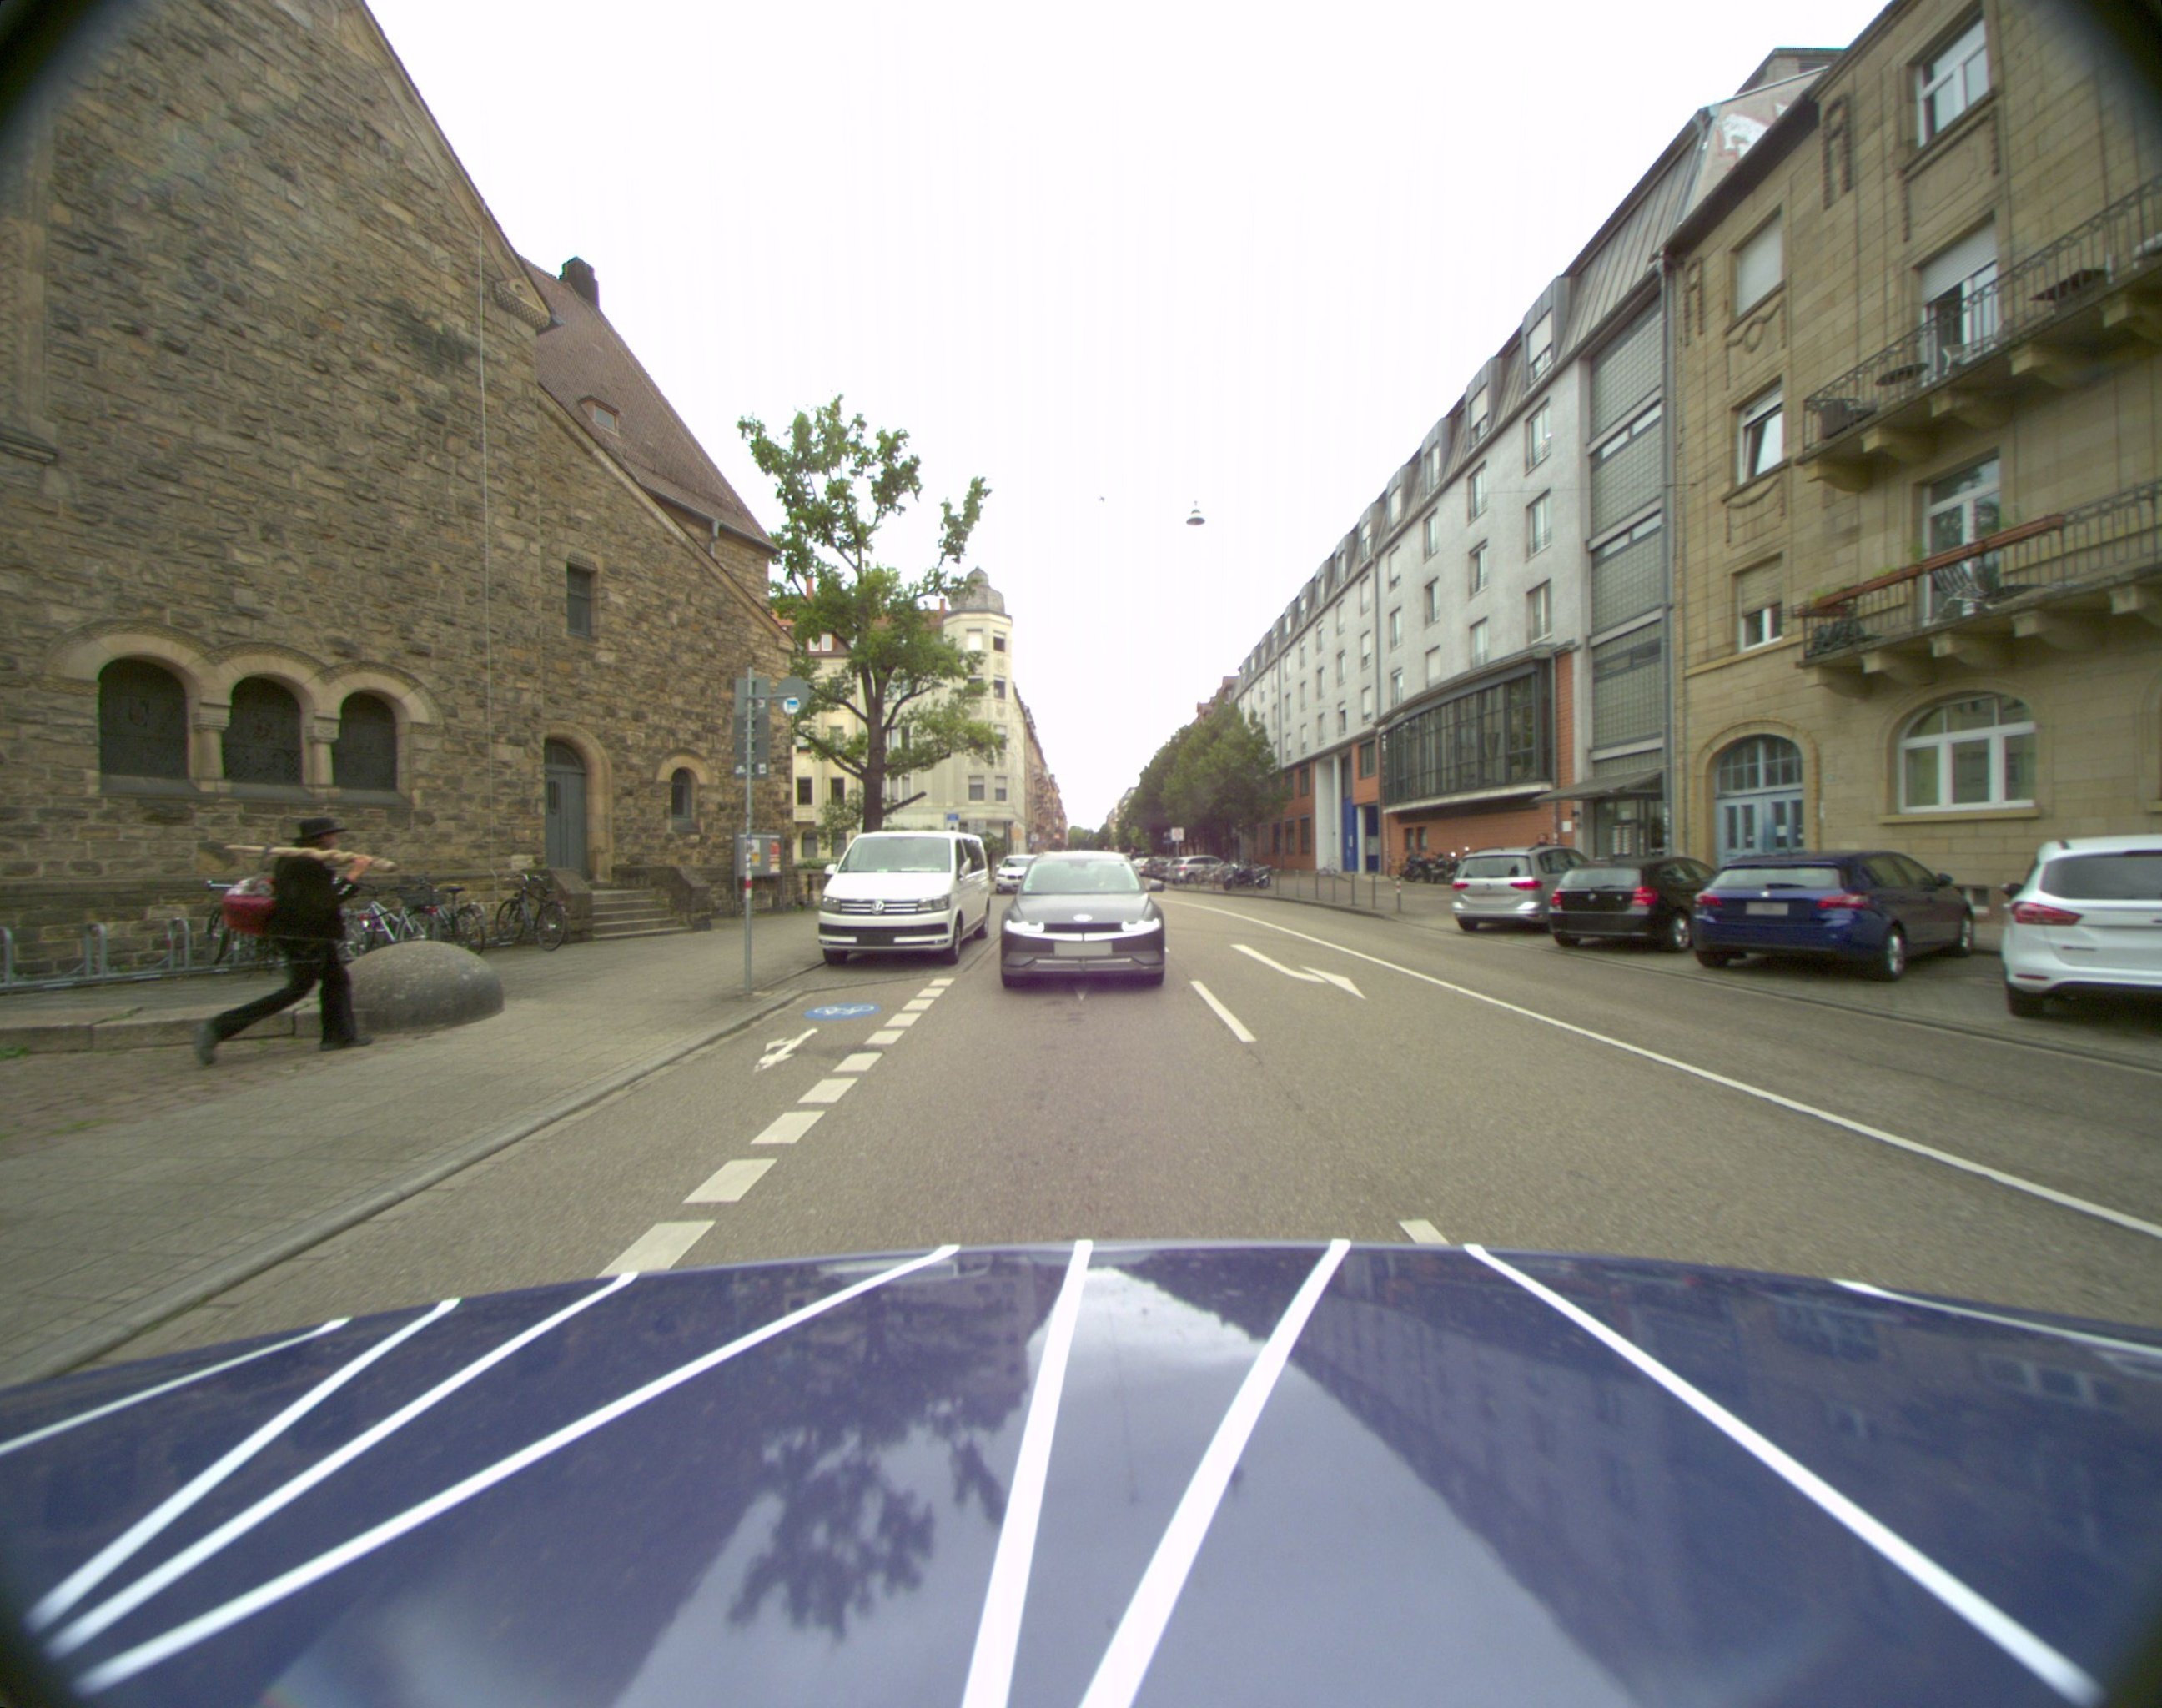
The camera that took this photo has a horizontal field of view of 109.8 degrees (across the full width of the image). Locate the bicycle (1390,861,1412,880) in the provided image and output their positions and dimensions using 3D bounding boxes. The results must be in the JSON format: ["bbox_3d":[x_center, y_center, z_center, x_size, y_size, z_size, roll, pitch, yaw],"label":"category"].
[{"bbox_3d":[14.083,0.713,33.415,0.336,0.782,1.581,-1,0,2],"label":"bicycle"}]

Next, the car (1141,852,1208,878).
[{"bbox_3d":[6.291,0.733,51.075,4.004,1.619,1.996,-1,0,-22],"label":"car"}]

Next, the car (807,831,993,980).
[{"bbox_3d":[-2.635,0.664,12.404,1.810,1.908,5.163,-1,0,0],"label":"car"}]

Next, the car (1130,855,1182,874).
[{"bbox_3d":[6.312,0.875,63.659,4.004,1.488,1.735,-1,0,-22],"label":"car"}]

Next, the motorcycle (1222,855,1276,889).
[{"bbox_3d":[7.180,0.768,32.472,2.124,1.345,0.599,-2,1,1],"label":"motorcycle"}]

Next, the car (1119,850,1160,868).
[{"bbox_3d":[6.443,0.575,83.320,4.004,1.897,1.996,-1,0,-22],"label":"car"}]

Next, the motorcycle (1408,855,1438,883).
[{"bbox_3d":[13.867,0.593,30.831,0.446,1.091,1.763,-1,0,2],"label":"motorcycle"}]

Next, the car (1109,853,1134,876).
[{"bbox_3d":[3.199,0.793,61.057,1.698,1.793,4.128,0,0,-1],"label":"car"}]

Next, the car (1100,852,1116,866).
[{"bbox_3d":[3.615,0.680,102.105,1.998,1.897,4.000,-1,0,2],"label":"car"}]

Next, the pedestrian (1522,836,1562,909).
[{"bbox_3d":[11.742,0.465,19.371,0.621,1.812,0.642,-1,1,1],"label":"pedestrian"}]

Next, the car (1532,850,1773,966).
[{"bbox_3d":[9.342,0.773,12.356,4.006,1.430,1.729,-3,0,-31],"label":"car"}]

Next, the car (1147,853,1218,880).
[{"bbox_3d":[6.472,0.751,48.305,4.004,1.619,1.996,-1,0,-22],"label":"car"}]

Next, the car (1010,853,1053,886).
[{"bbox_3d":[-2.431,0.742,38.129,1.820,1.556,4.000,-1,0,1],"label":"car"}]

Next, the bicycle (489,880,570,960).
[{"bbox_3d":[-8.276,0.975,11.399,1.340,1.140,0.311,-1,1,23],"label":"bicycle"}]

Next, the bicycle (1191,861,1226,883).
[{"bbox_3d":[6.463,0.915,38.520,1.630,1.067,0.416,-2,1,-1],"label":"bicycle"}]

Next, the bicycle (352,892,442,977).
[{"bbox_3d":[-9.043,1.036,10.037,1.380,1.053,0.311,-1,1,23],"label":"bicycle"}]

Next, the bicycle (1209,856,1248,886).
[{"bbox_3d":[6.643,0.783,34.299,1.630,1.282,0.416,-2,1,-1],"label":"bicycle"}]

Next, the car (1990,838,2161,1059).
[{"bbox_3d":[9.828,0.698,6.959,4.007,1.545,1.699,-3,0,-37],"label":"car"}]

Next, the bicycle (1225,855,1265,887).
[{"bbox_3d":[7.220,0.745,33.442,1.630,1.345,0.416,-2,1,-1],"label":"bicycle"}]

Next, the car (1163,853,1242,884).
[{"bbox_3d":[6.763,0.782,42.426,4.004,1.619,1.769,-1,0,-22],"label":"car"}]

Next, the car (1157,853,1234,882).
[{"bbox_3d":[6.784,0.770,45.086,4.004,1.619,1.996,-1,0,-22],"label":"car"}]

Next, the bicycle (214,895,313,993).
[{"bbox_3d":[-9.440,1.010,8.765,1.380,1.053,0.311,-1,1,23],"label":"bicycle"}]

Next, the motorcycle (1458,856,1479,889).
[{"bbox_3d":[13.525,0.619,26.547,0.445,1.091,1.765,0,0,21],"label":"motorcycle"}]

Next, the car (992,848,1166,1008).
[{"bbox_3d":[0.013,0.780,10.016,1.820,1.675,4.000,-1,0,1],"label":"car"}]

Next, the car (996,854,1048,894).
[{"bbox_3d":[-2.438,0.802,32.204,1.820,1.556,4.000,-1,0,1],"label":"car"}]

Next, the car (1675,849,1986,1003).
[{"bbox_3d":[9.567,0.770,9.672,3.754,1.437,1.820,-3,0,-29],"label":"car"}]

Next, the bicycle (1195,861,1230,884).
[{"bbox_3d":[6.560,0.918,38.008,1.630,1.067,0.416,-2,1,-1],"label":"bicycle"}]

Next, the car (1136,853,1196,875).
[{"bbox_3d":[6.352,0.732,57.021,4.004,1.619,1.996,-1,0,-22],"label":"car"}]

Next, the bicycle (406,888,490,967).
[{"bbox_3d":[-8.915,1.011,10.699,1.340,1.053,0.311,-1,1,23],"label":"bicycle"}]

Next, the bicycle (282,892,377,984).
[{"bbox_3d":[-9.243,1.013,9.342,1.380,1.053,0.311,-1,1,23],"label":"bicycle"}]

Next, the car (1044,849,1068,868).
[{"bbox_3d":[-2.096,0.342,64.681,1.820,1.556,4.000,-1,0,1],"label":"car"}]

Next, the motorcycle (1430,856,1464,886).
[{"bbox_3d":[13.865,0.617,28.824,0.446,1.091,1.763,-1,0,2],"label":"motorcycle"}]

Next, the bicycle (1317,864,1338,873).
[{"bbox_3d":[13.642,0.806,42.059,1.010,0.434,0.527,-1,2,2],"label":"bicycle"}]

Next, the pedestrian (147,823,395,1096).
[{"bbox_3d":[-5.954,0.707,5.636,0.814,1.798,1.022,0,-1,22],"label":"pedestrian"}]

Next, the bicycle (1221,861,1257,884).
[{"bbox_3d":[7.698,0.900,37.030,1.630,1.067,0.416,-2,1,-1],"label":"bicycle"}]

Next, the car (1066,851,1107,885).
[{"bbox_3d":[0.337,0.663,38.673,1.910,1.597,4.251,-1,0,2],"label":"car"}]

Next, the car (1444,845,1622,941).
[{"bbox_3d":[9.232,0.706,15.405,4.007,1.545,1.729,-3,0,-38],"label":"car"}]
